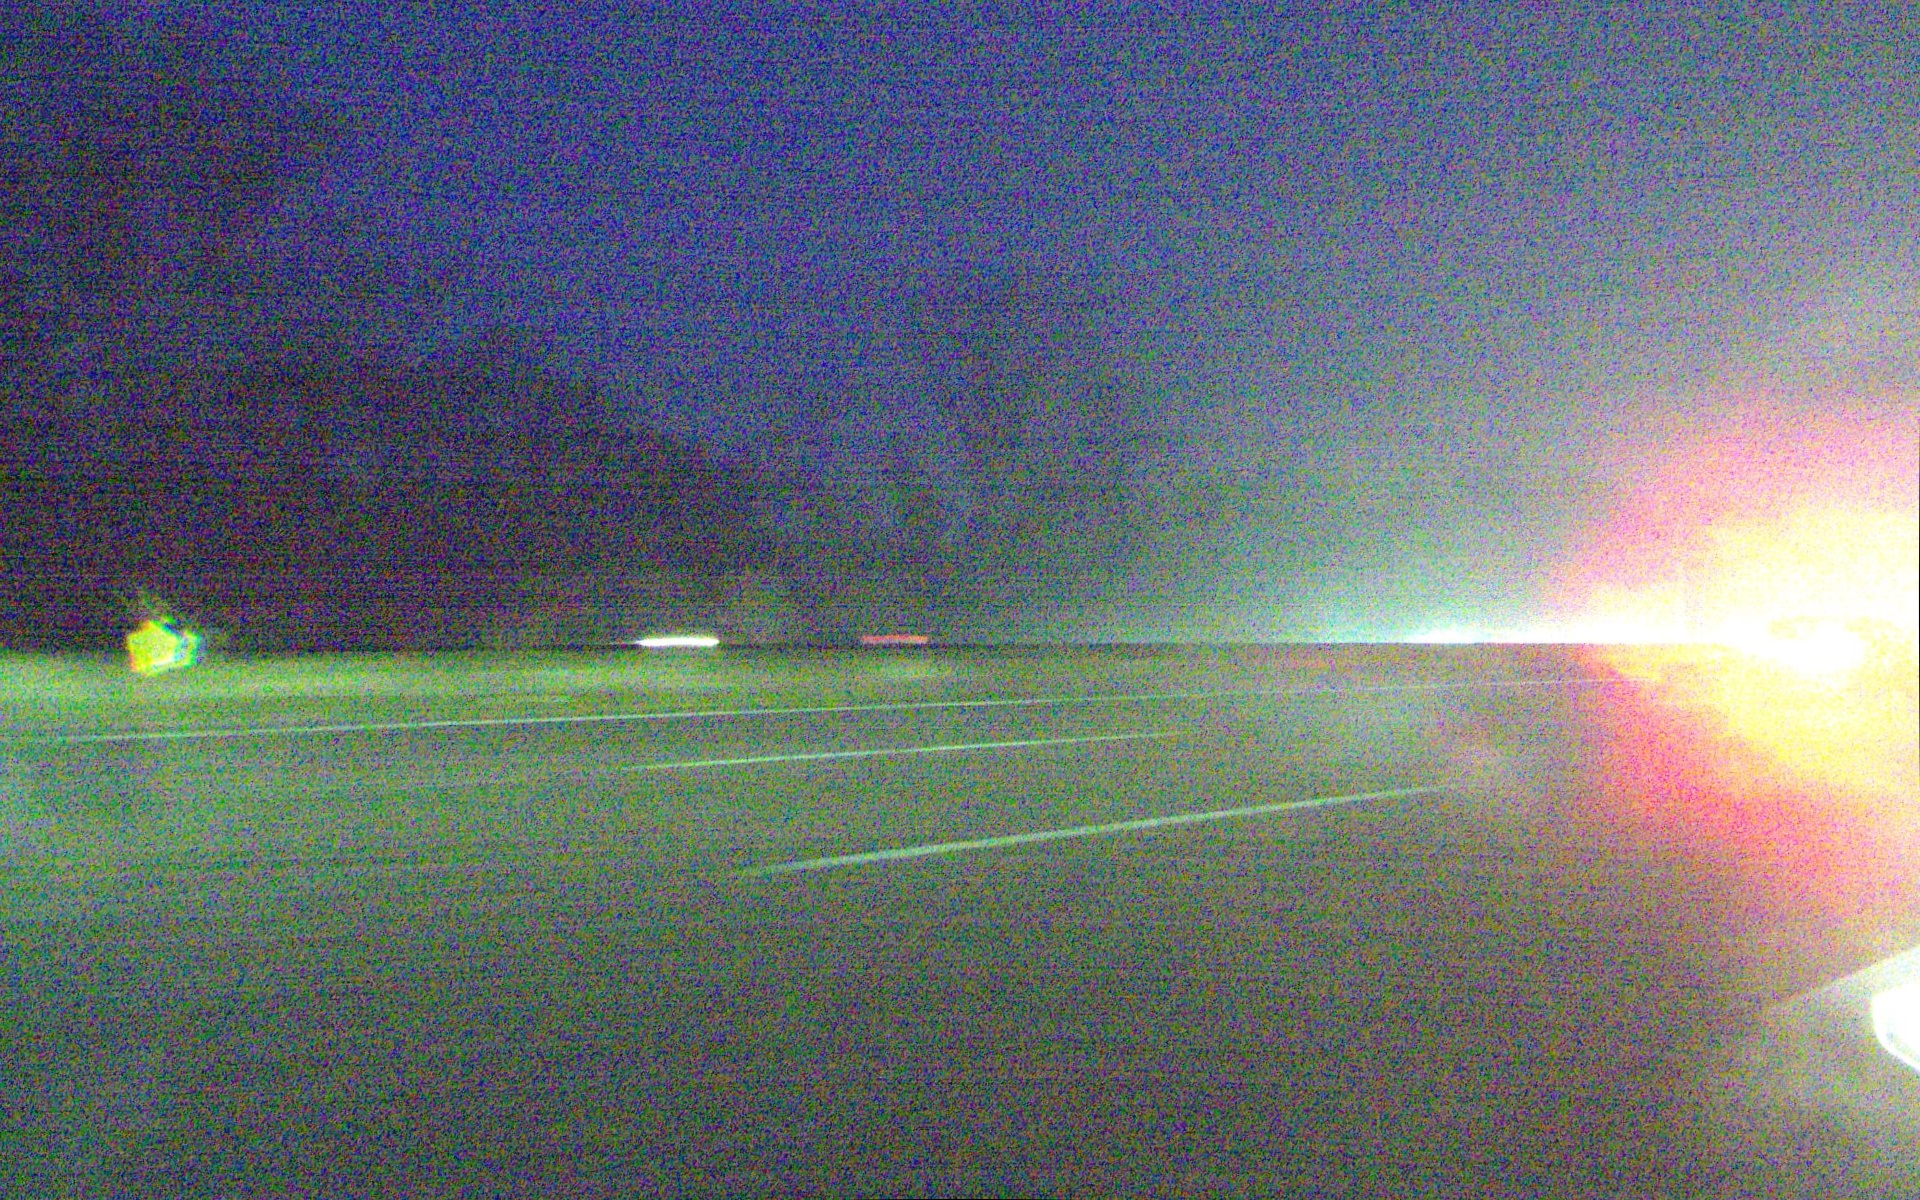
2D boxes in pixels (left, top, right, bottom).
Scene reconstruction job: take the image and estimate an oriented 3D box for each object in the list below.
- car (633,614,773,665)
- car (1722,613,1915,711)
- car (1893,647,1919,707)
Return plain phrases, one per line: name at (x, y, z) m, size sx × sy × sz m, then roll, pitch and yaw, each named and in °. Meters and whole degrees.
car at (-8.007, 1.233, 31.354) m, size 3.853 × 1.452 × 1.869 m, roll 2°, pitch 0°, yaw -32°
car at (16.329, 1.119, 19.056) m, size 3.963 × 1.617 × 1.979 m, roll 2°, pitch 0°, yaw -37°
car at (28.814, 2.242, 29.208) m, size 3.802 × 1.672 × 1.683 m, roll 2°, pitch 0°, yaw -35°
